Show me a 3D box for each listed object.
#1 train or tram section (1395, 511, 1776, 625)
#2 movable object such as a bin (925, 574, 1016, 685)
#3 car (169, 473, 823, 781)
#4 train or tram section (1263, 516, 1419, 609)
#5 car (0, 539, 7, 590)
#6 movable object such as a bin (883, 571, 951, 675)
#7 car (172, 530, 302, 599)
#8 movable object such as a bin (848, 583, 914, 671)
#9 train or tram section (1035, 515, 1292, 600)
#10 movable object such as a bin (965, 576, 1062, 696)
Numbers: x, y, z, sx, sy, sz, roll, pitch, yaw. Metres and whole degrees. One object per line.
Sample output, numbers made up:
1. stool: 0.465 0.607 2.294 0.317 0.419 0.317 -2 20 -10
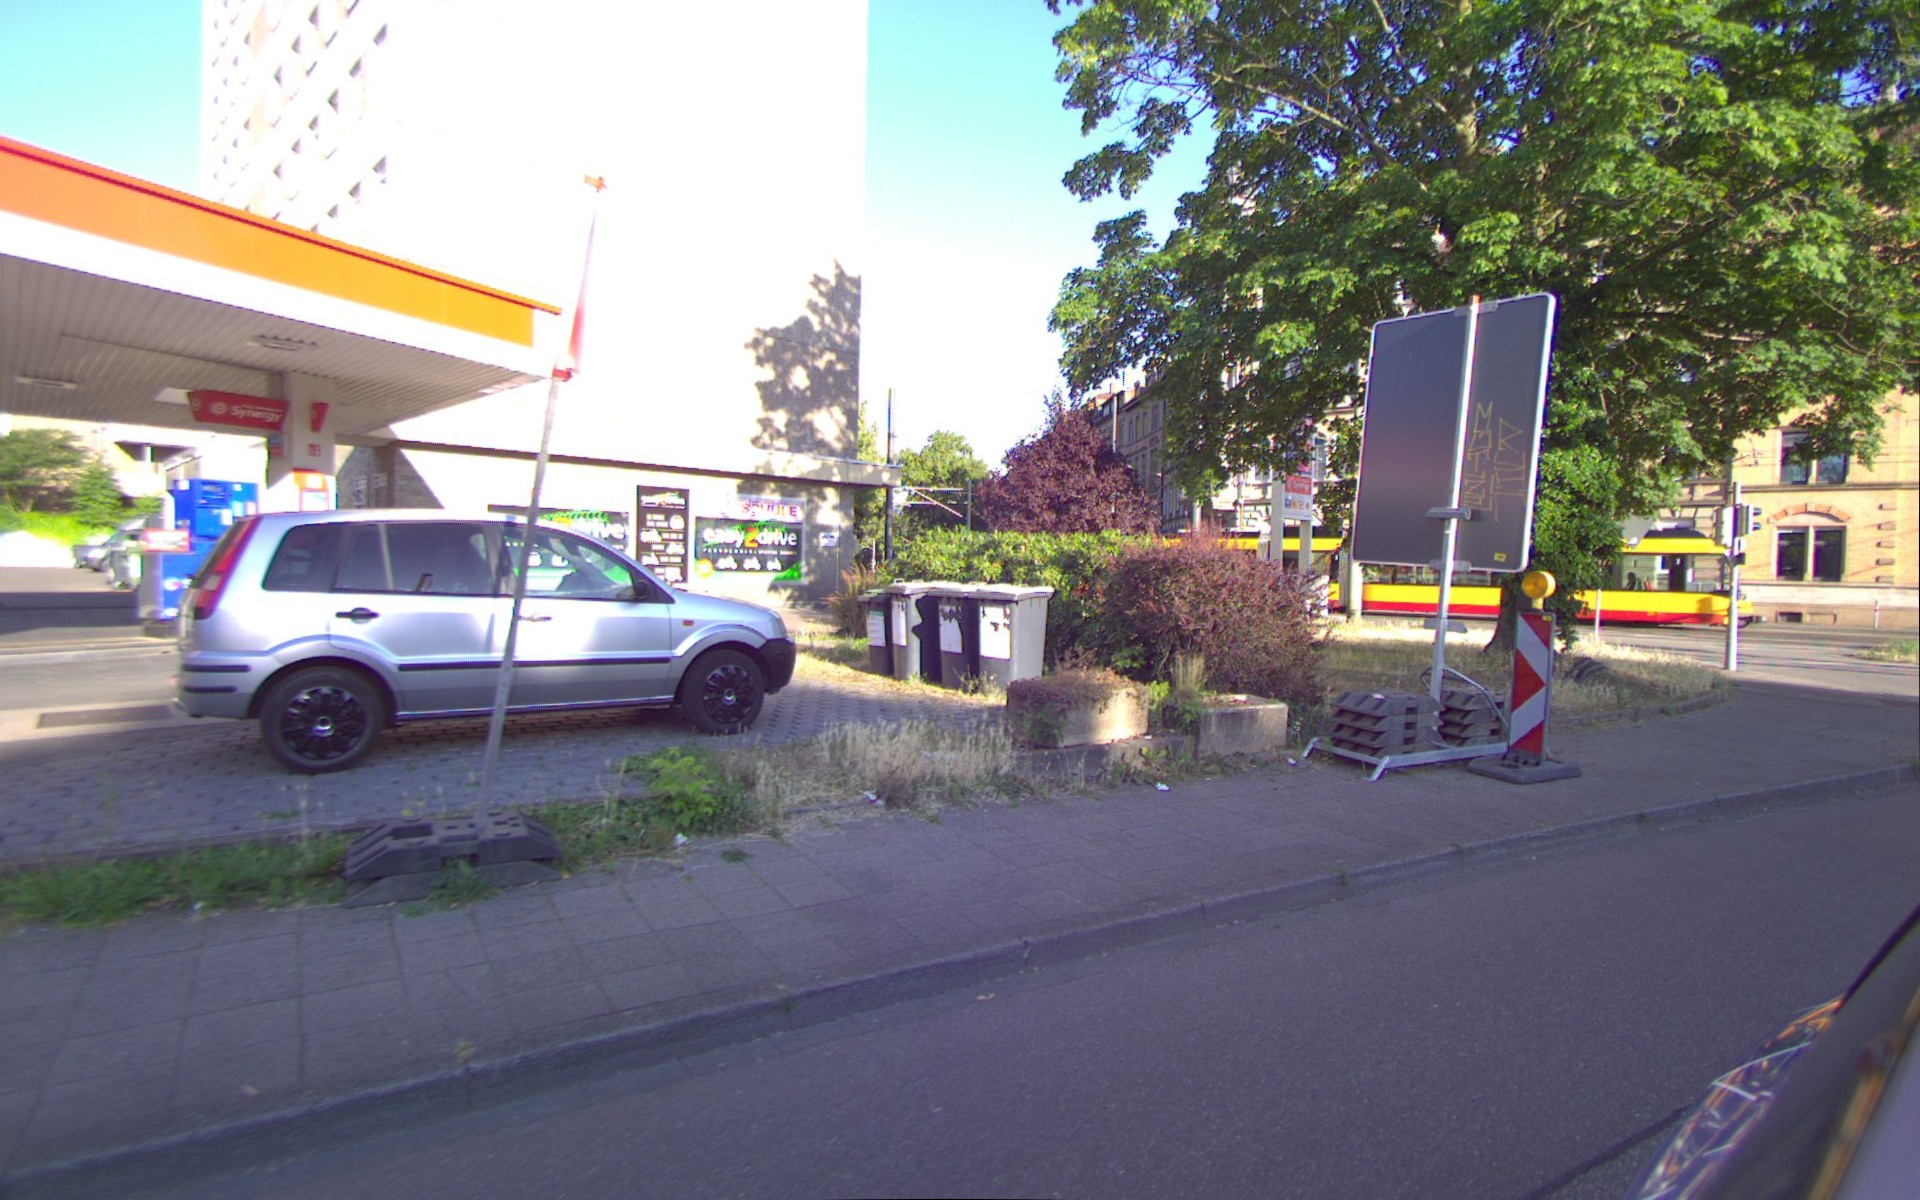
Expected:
1. train or tram section: 21.880 -1.233 36.163 11.246 3.551 2.829 3 2 40
2. movable object such as a bin: 0.103 0.273 9.986 0.661 1.042 0.573 0 2 -38
3. car: -3.048 0.093 7.077 3.820 1.613 1.625 0 2 -35
4. train or tram section: 15.557 -1.556 41.489 5.281 3.551 2.828 3 2 40
5. car: -26.877 -0.939 25.460 4.184 1.312 1.748 -1 3 -43
6. movable object such as a bin: -0.451 0.228 10.517 0.573 1.042 0.524 1 2 -17
7. car: -17.029 -0.852 23.752 1.967 1.466 3.992 0 3 -43
8. movable object such as a bin: -0.859 0.281 10.989 0.573 0.919 0.488 1 2 -24
9. train or tram section: 9.160 -2.036 48.097 2.819 3.551 12.999 0 2 -40
10. movable object such as a bin: 0.495 0.313 9.350 0.661 1.042 0.573 0 2 -38
